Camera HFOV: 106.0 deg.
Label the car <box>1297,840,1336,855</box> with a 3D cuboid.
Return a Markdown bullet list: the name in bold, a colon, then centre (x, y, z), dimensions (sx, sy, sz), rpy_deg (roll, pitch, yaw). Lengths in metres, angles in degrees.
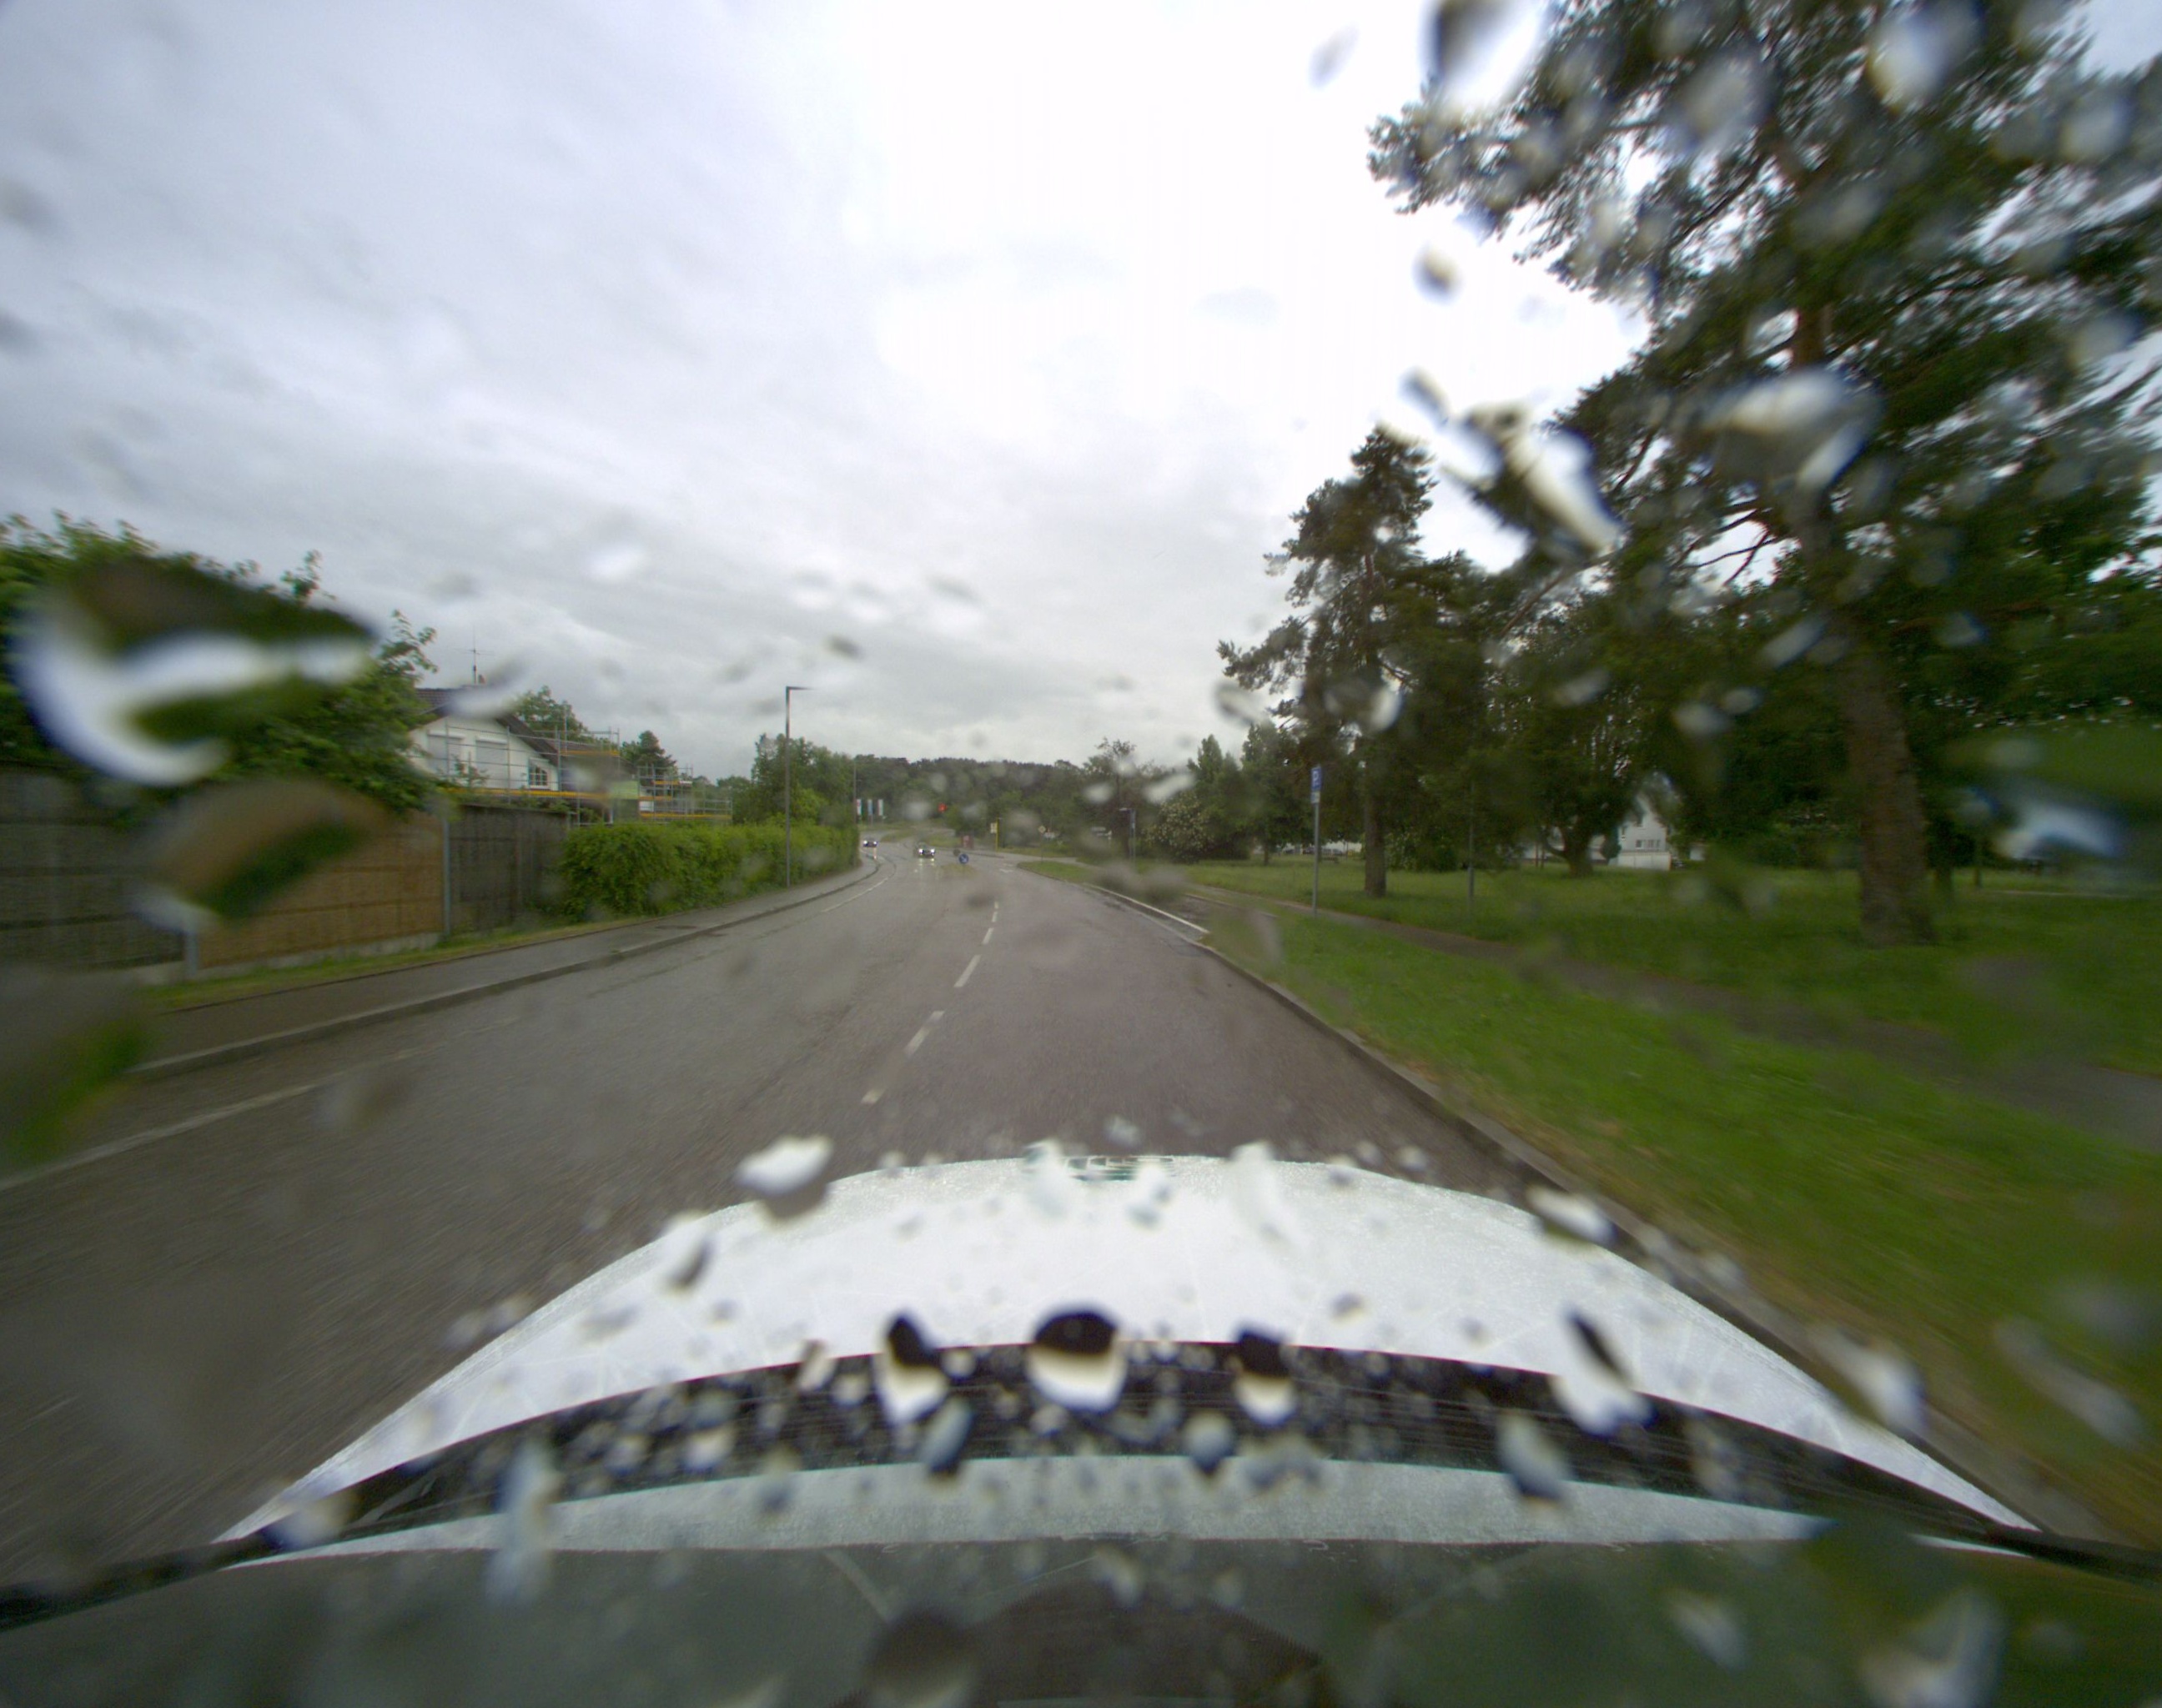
- **car**: centre (30.918, -0.819, 106.797), dimensions (4.501, 1.750, 1.924), rpy_deg (-3, -1, 45)

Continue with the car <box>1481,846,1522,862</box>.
- **car**: centre (41.100, 0.025, 79.645), dimensions (1.965, 1.464, 4.002), rpy_deg (-3, 0, 2)

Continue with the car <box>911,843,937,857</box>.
- **car**: centre (-17.130, -0.465, 88.811), dimensions (1.466, 1.355, 3.496), rpy_deg (2, 1, -36)

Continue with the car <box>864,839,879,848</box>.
- **car**: centre (-31.855, -1.606, 123.911), dimensions (1.973, 1.414, 4.389), rpy_deg (-2, 2, -18)
